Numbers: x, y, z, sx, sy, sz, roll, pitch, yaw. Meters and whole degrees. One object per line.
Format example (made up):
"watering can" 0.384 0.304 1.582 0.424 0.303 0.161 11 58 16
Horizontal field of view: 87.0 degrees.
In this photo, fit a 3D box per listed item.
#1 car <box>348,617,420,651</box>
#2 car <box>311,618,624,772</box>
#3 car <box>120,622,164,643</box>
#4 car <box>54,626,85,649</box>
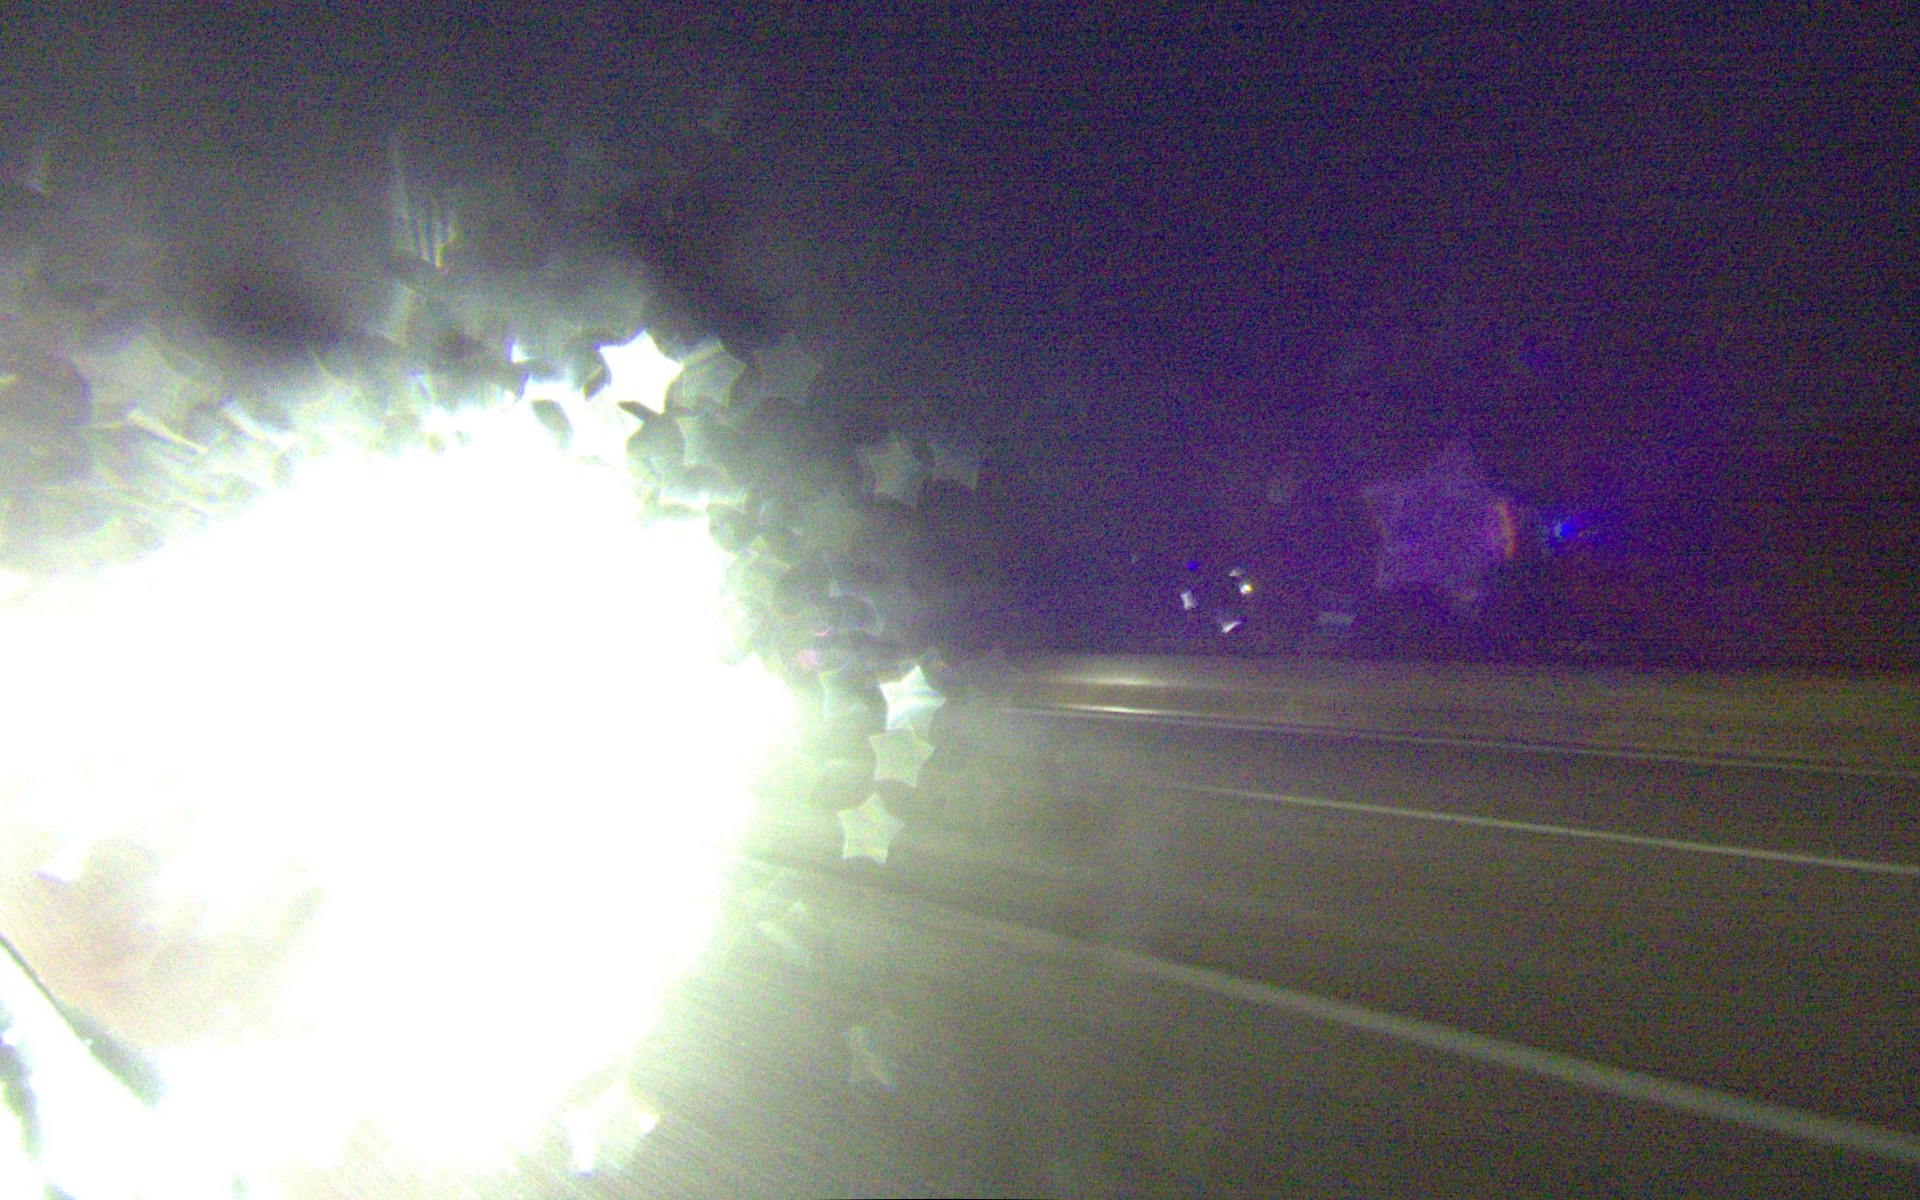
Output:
"car" -31.100 1.798 54.563 4.342 1.685 1.974 -1 0 40
"car" -5.789 0.969 11.662 4.242 1.442 1.640 -2 -1 40
"car" -63.263 2.483 78.227 4.345 1.529 1.788 -1 0 39
"car" -98.703 4.102 112.161 4.842 2.419 1.949 -1 0 41
